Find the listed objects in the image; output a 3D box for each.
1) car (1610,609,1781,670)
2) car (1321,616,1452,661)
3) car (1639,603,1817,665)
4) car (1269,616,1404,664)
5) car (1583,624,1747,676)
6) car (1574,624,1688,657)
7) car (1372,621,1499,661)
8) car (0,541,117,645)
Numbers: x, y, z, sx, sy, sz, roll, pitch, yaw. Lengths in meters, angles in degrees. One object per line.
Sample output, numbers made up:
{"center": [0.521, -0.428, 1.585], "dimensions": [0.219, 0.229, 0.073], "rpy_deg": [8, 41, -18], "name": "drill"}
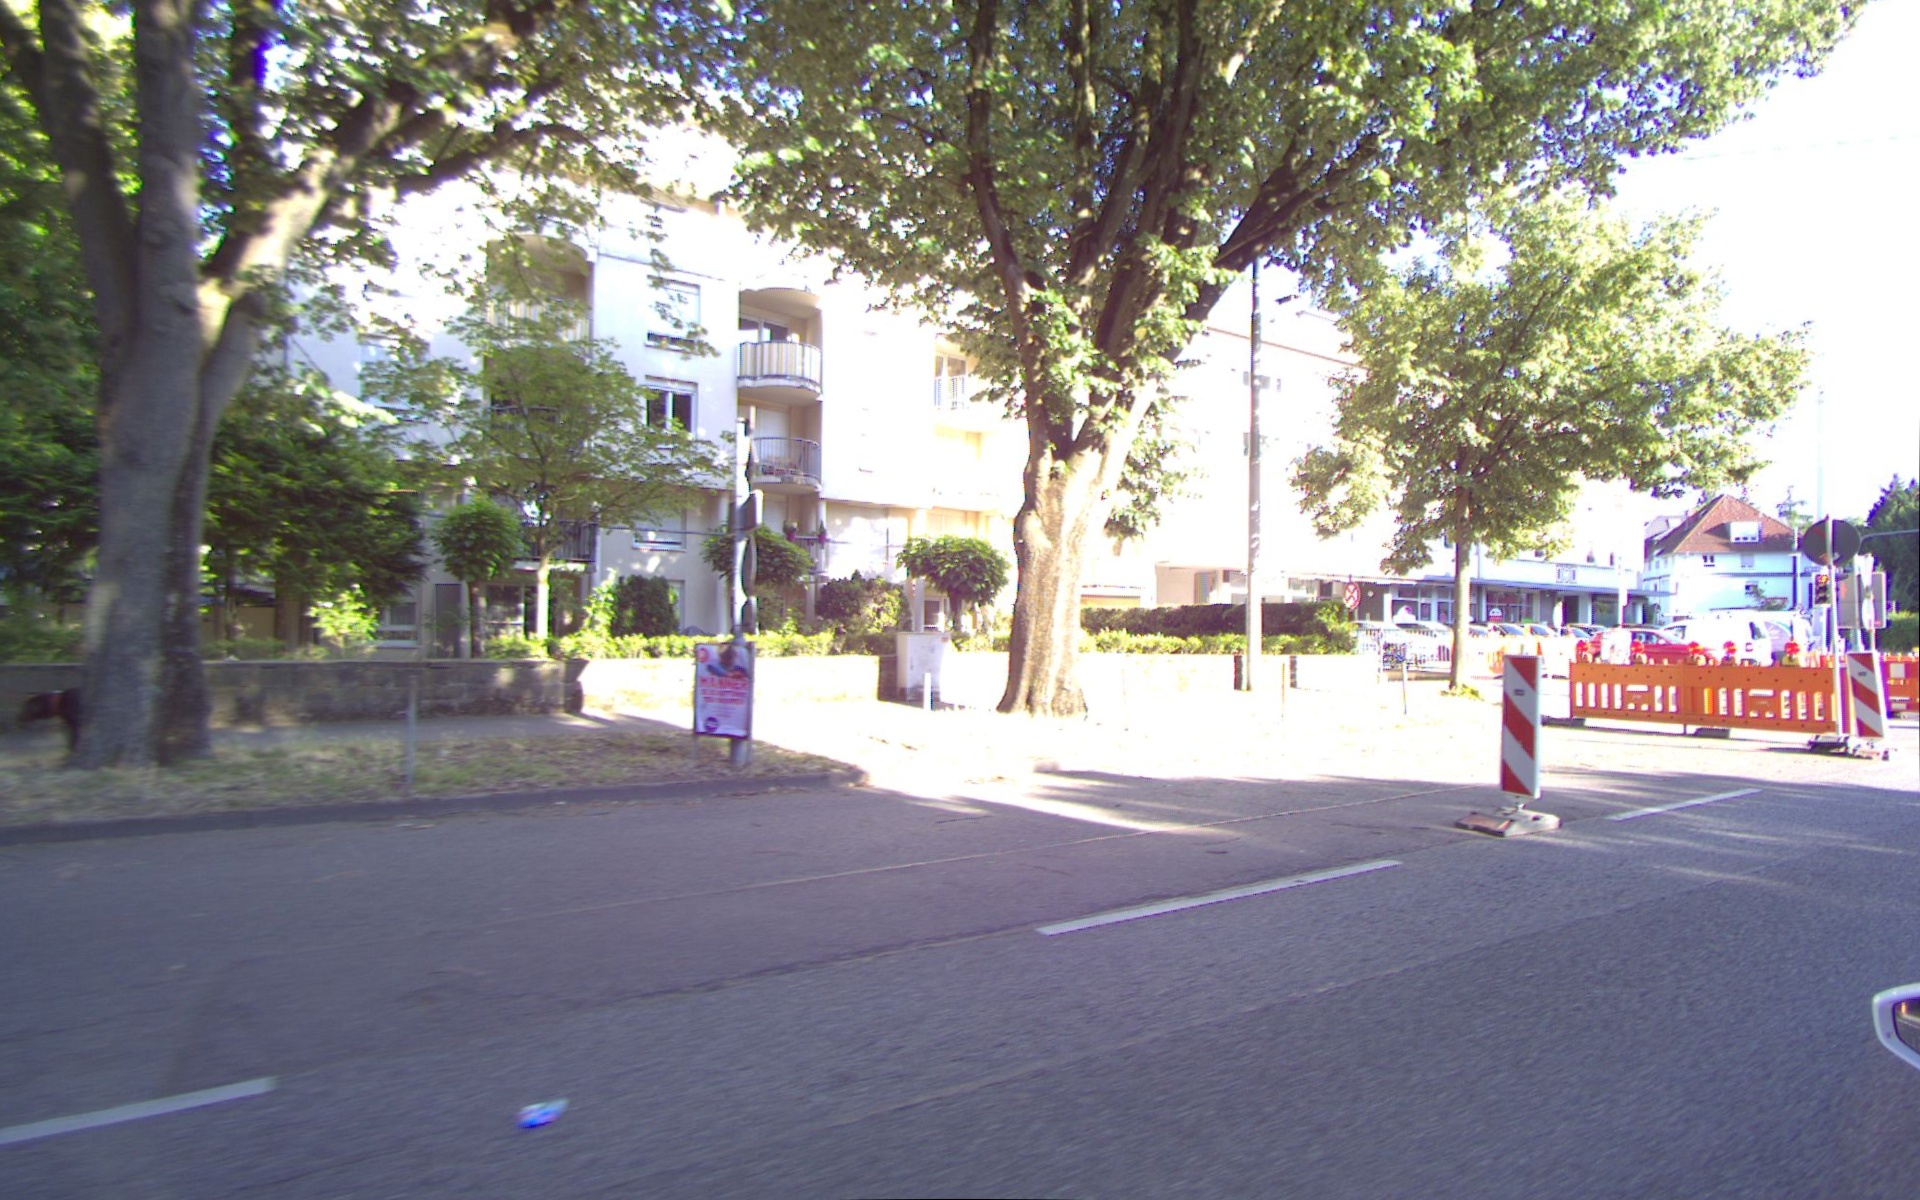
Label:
{"center": [25.008, 1.296, 34.330], "dimensions": [1.975, 1.876, 4.295], "rpy_deg": [1, 0, -28], "name": "car"}
{"center": [16.100, 1.419, 38.149], "dimensions": [1.976, 1.530, 4.295], "rpy_deg": [1, 0, -29], "name": "car"}
{"center": [27.320, 1.160, 35.898], "dimensions": [2.095, 1.991, 4.640], "rpy_deg": [1, 0, -33], "name": "car"}
{"center": [13.497, 1.394, 36.257], "dimensions": [1.976, 1.532, 4.295], "rpy_deg": [1, 0, -29], "name": "car"}
{"center": [22.931, 1.573, 32.799], "dimensions": [1.980, 1.498, 3.964], "rpy_deg": [1, 0, -35], "name": "car"}
{"center": [32.473, 1.930, 48.747], "dimensions": [1.968, 1.417, 4.311], "rpy_deg": [1, 0, -17], "name": "car"}
{"center": [19.122, 1.599, 40.594], "dimensions": [1.976, 1.417, 4.295], "rpy_deg": [1, 0, -29], "name": "car"}
{"center": [-25.341, -0.125, 27.528], "dimensions": [2.428, 2.599, 5.213], "rpy_deg": [1, -1, -29], "name": "car"}
